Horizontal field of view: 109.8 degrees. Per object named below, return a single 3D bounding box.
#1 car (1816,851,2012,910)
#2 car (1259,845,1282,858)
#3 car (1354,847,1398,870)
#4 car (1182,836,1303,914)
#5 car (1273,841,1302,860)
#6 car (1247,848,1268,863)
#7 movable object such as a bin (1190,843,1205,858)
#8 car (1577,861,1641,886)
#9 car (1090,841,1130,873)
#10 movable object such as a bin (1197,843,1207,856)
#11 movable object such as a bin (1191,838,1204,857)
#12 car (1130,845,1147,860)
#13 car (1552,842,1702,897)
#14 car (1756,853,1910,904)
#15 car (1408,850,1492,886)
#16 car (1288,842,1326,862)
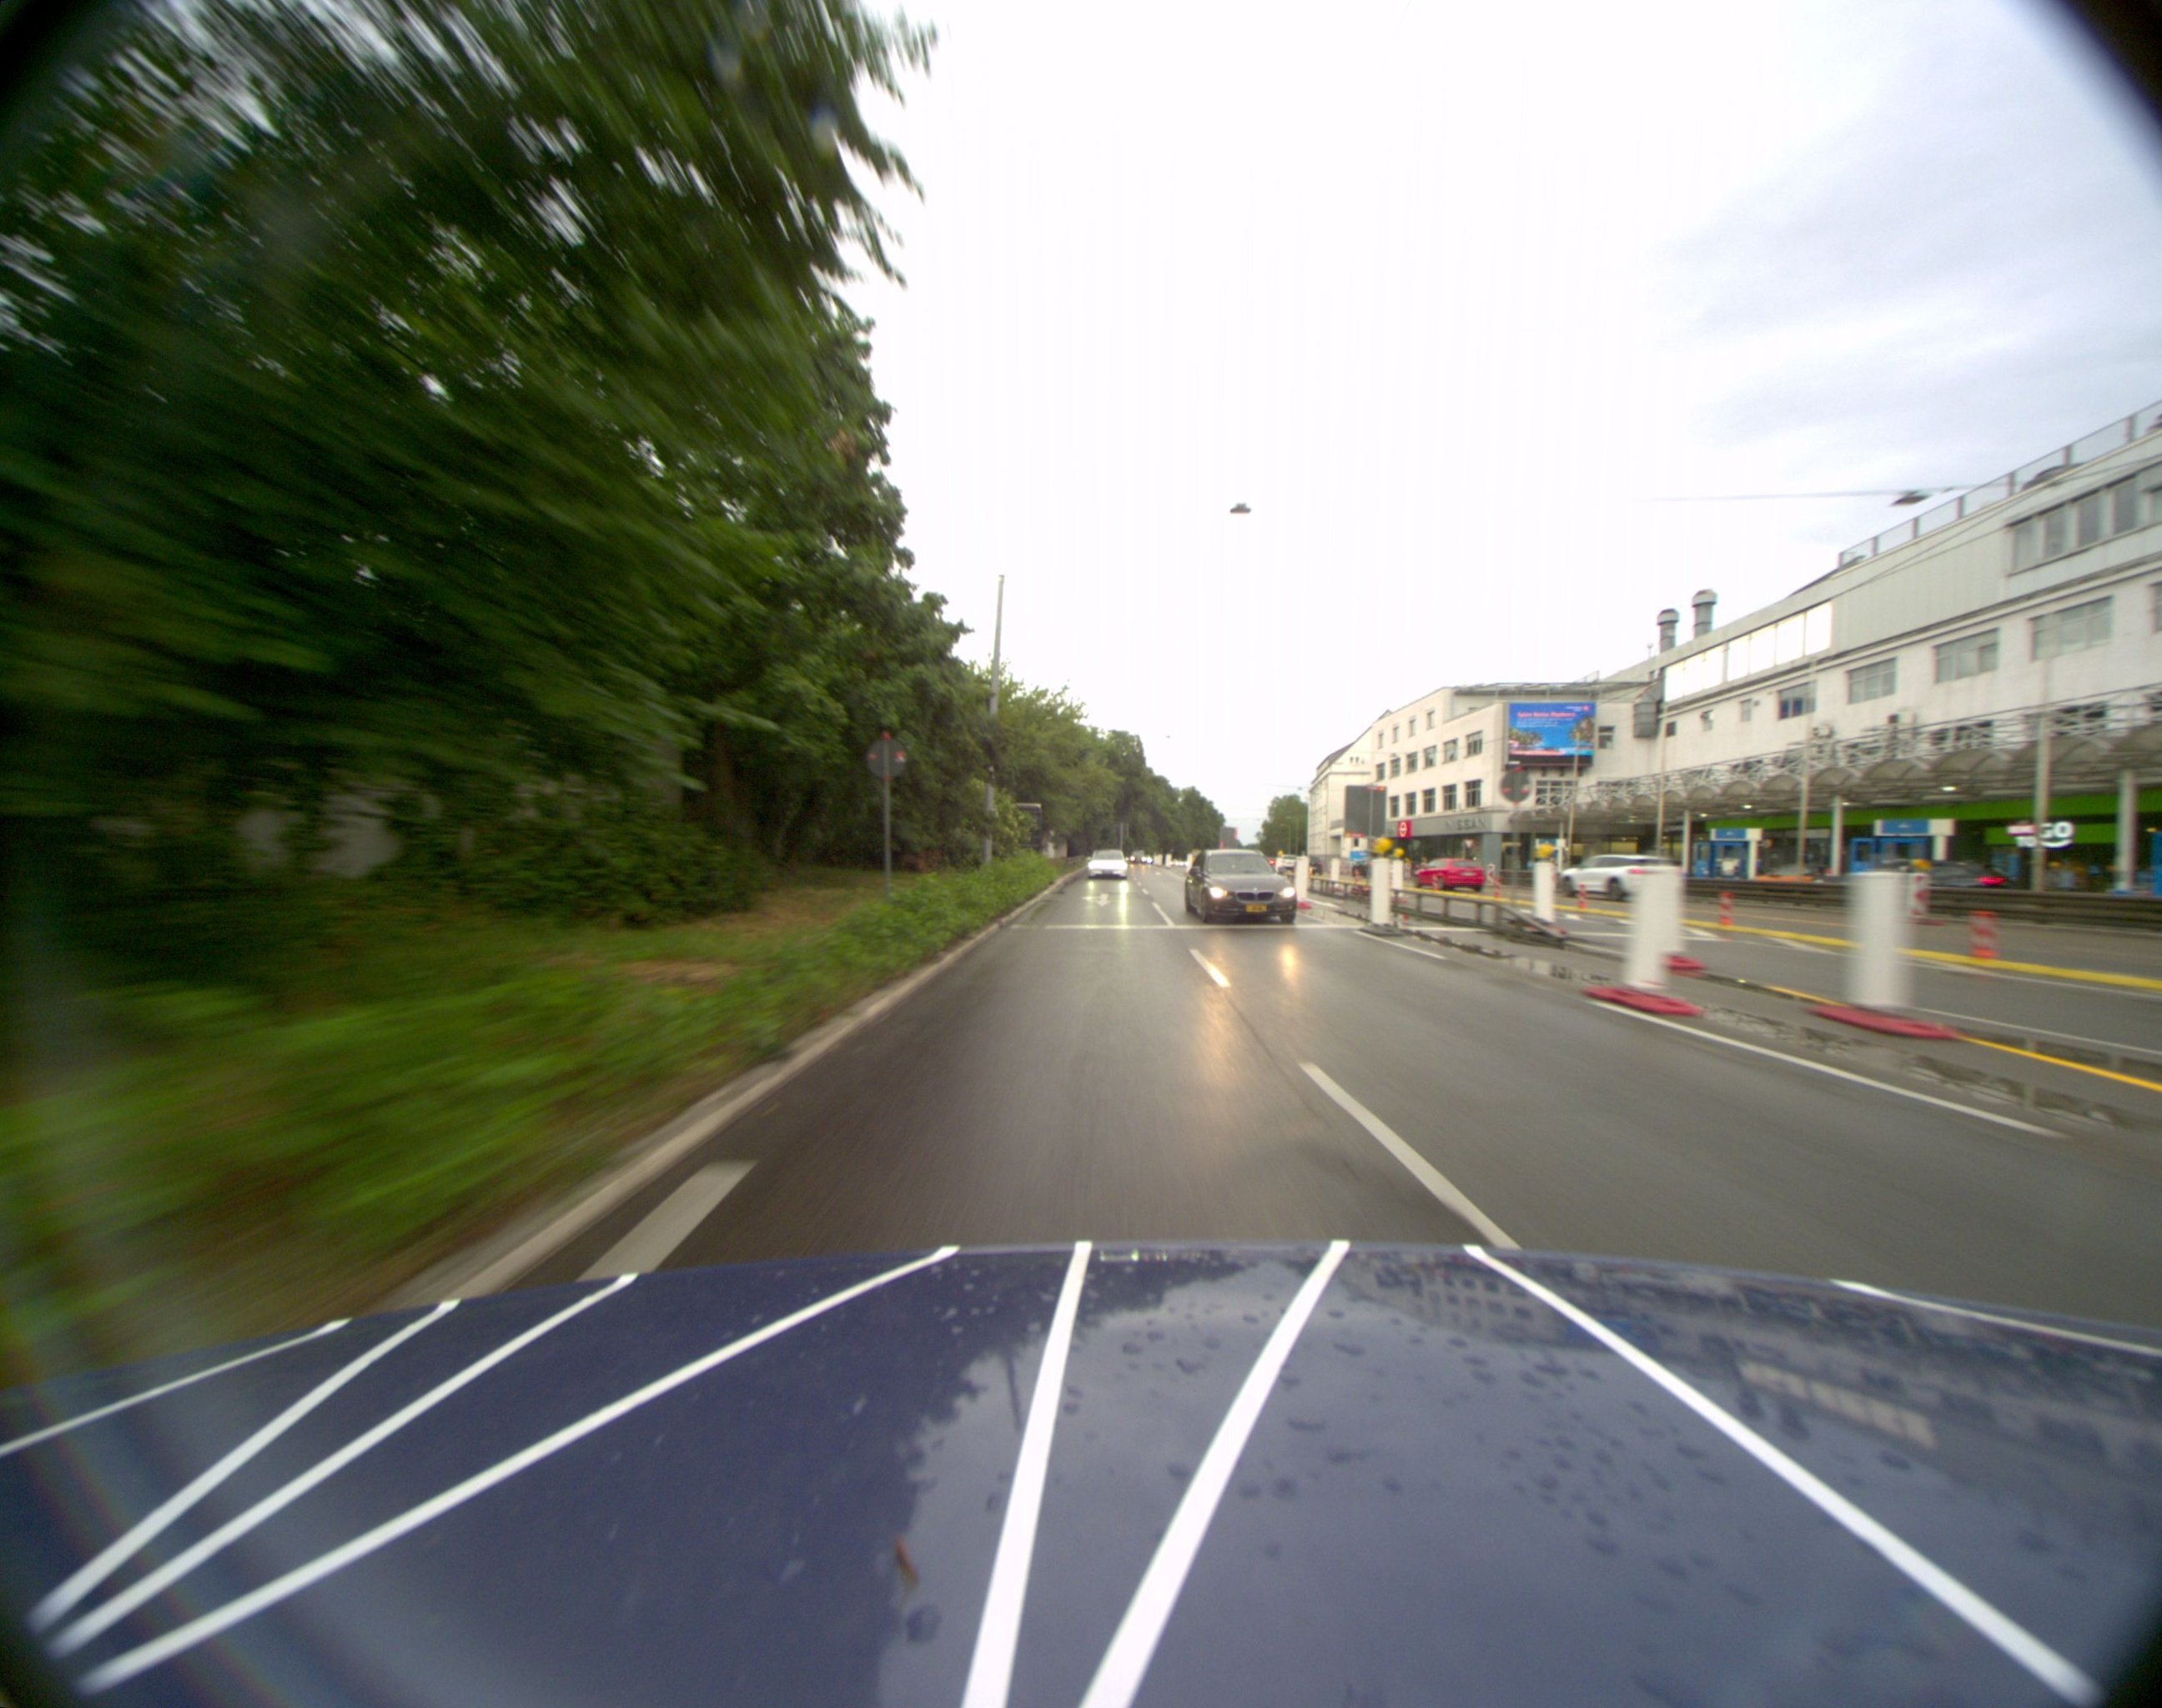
[{"bbox_3d":[29.330,0.880,27.019,4.464,1.669,2.018,5,2,44],"label":"car"},{"bbox_3d":[23.556,-0.297,94.437,1.855,1.458,4.707,3,1,3],"label":"car"},{"bbox_3d":[21.549,0.271,55.720,1.714,1.527,4.078,3,1,2],"label":"car"},{"bbox_3d":[3.256,0.357,16.107,1.763,1.441,4.177,0,1,2],"label":"car"},{"bbox_3d":[20.183,-0.359,74.439,1.942,1.680,4.581,2,1,6],"label":"car"},{"bbox_3d":[25.314,0.179,109.337,1.998,1.926,5.231,3,2,4],"label":"car"},{"bbox_3d":[17.591,-0.555,114.752,1.996,2.099,3.853,3,1,11],"label":"movable object such as a bin"},{"bbox_3d":[36.287,1.323,52.299,1.817,1.474,3.968,3,2,5],"label":"car"},{"bbox_3d":[1.455,0.094,38.100,1.839,1.424,4.272,2,1,2],"label":"car"},{"bbox_3d":[20.175,-0.714,126.609,1.398,2.032,4.089,3,1,11],"label":"movable object such as a bin"},{"bbox_3d":[18.365,-0.985,119.841,1.825,2.895,3.610,3,1,11],"label":"movable object such as a bin"},{"bbox_3d":[7.232,-0.178,94.978,1.998,1.740,4.001,3,2,5],"label":"car"},{"bbox_3d":[19.410,0.475,27.339,1.984,1.697,4.831,2,1,2],"label":"car"},{"bbox_3d":[31.659,0.974,32.185,4.431,1.760,1.972,5,2,44],"label":"car"},{"bbox_3d":[16.222,0.552,33.622,1.739,1.396,4.289,1,1,2],"label":"car"},{"bbox_3d":[18.239,-0.162,61.473,1.963,1.512,4.300,2,1,3],"label":"car"}]
